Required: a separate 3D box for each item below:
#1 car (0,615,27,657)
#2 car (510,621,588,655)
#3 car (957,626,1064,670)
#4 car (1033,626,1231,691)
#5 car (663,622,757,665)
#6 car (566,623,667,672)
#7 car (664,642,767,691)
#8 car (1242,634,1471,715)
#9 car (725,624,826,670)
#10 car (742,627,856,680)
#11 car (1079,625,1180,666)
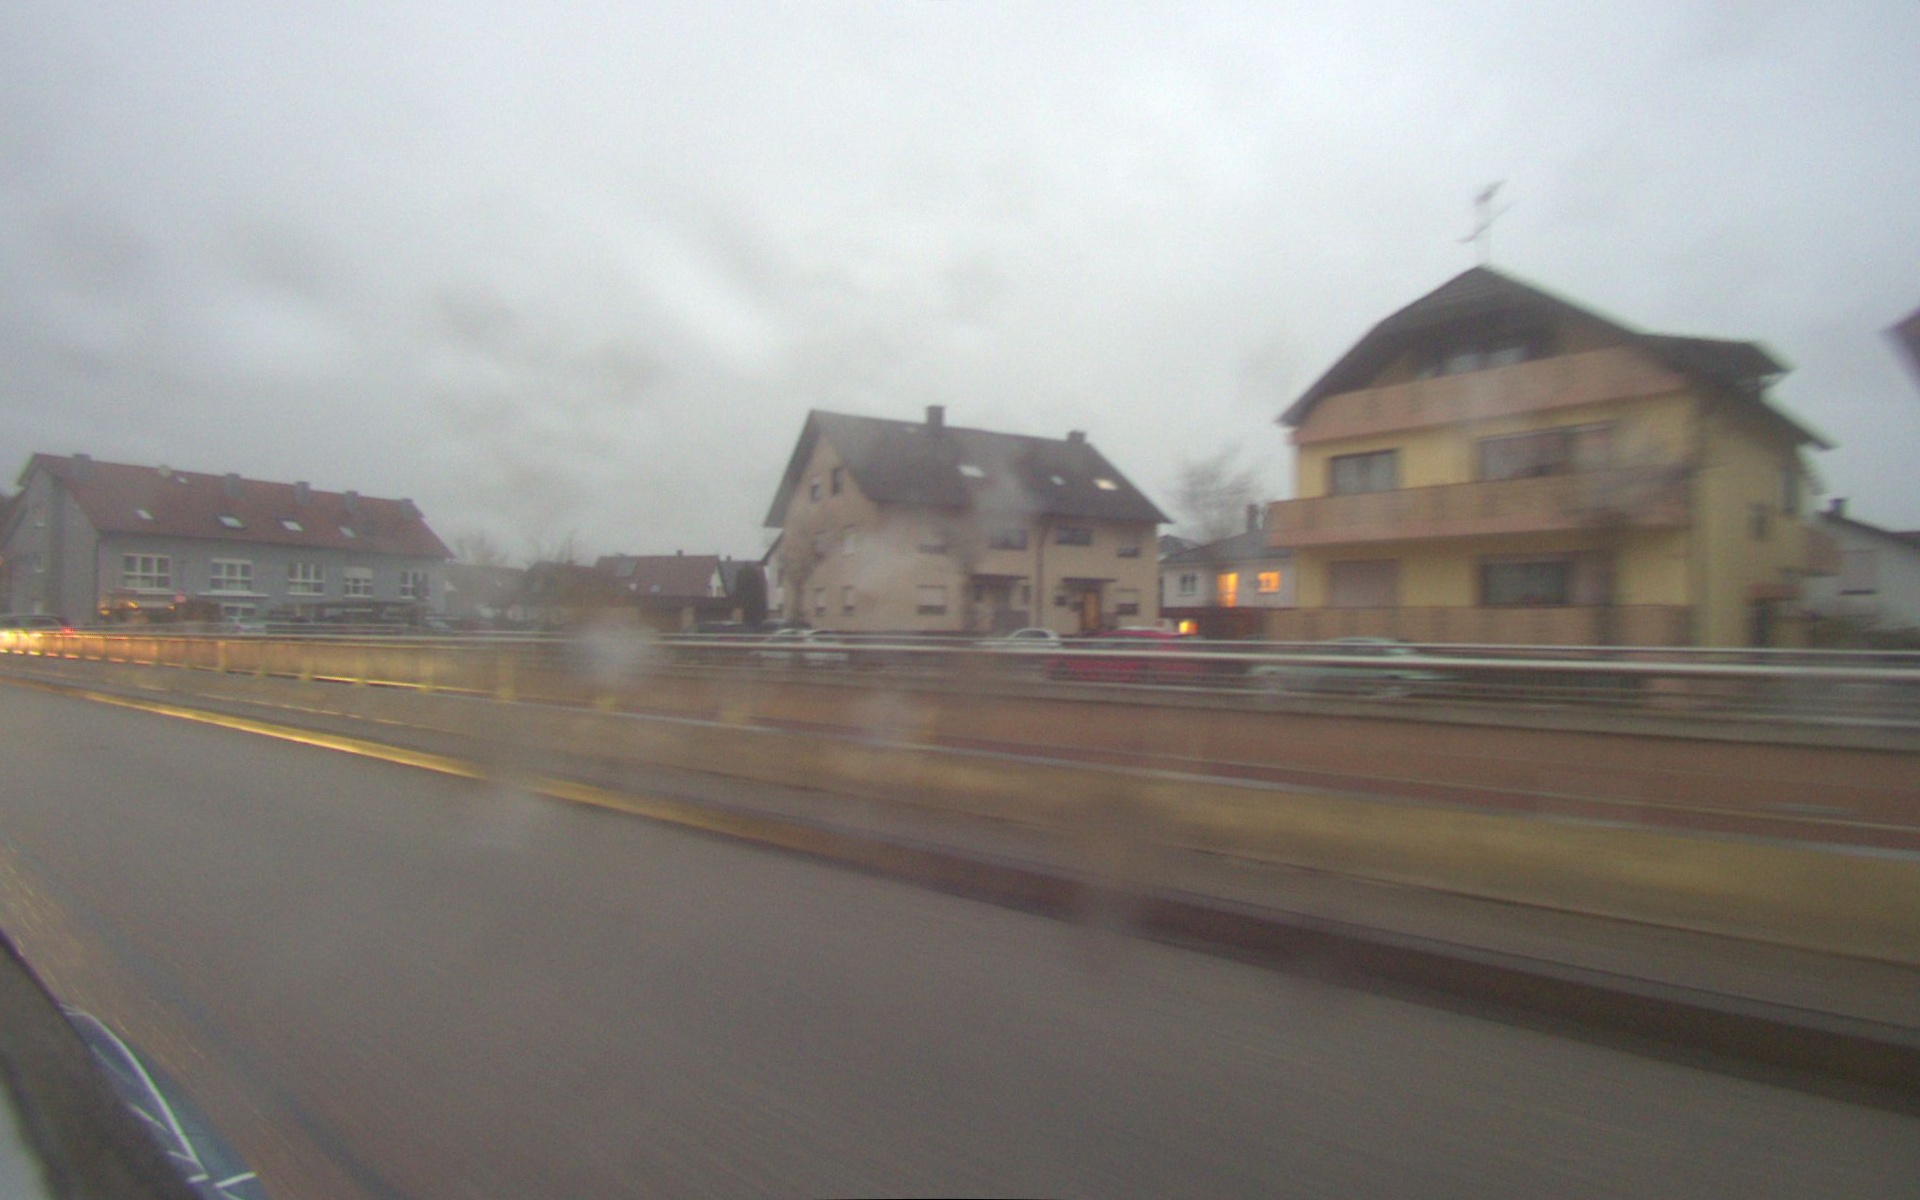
[{"bbox_3d":[-39.347,1.466,39.224,1.993,1.633,4.300,-1,0,32],"label":"car"},{"bbox_3d":[-18.979,1.712,46.682,3.829,1.425,1.660,0,1,39],"label":"car"},{"bbox_3d":[2.060,1.924,41.234,3.971,1.535,1.819,-2,0,-29],"label":"car"},{"bbox_3d":[4.184,1.384,25.166,1.855,1.453,4.651,1,-2,-45],"label":"car"},{"bbox_3d":[-10.538,1.812,42.628,3.996,1.659,1.817,-2,0,40],"label":"car"},{"bbox_3d":[-14.712,1.993,43.298,4.351,1.919,1.975,-2,0,38],"label":"car"},{"bbox_3d":[-9.203,2.451,37.963,4.001,1.529,1.875,0,1,44],"label":"car"},{"bbox_3d":[8.344,1.504,21.524,4.145,1.517,1.855,-2,-2,44],"label":"car"},{"bbox_3d":[-7.268,1.805,39.604,3.999,1.659,1.791,-2,0,42],"label":"car"},{"bbox_3d":[-5.589,1.813,34.797,3.986,1.636,1.796,-2,0,44],"label":"car"},{"bbox_3d":[7.386,1.951,44.108,3.931,1.556,2.006,-1,0,-30],"label":"car"}]
